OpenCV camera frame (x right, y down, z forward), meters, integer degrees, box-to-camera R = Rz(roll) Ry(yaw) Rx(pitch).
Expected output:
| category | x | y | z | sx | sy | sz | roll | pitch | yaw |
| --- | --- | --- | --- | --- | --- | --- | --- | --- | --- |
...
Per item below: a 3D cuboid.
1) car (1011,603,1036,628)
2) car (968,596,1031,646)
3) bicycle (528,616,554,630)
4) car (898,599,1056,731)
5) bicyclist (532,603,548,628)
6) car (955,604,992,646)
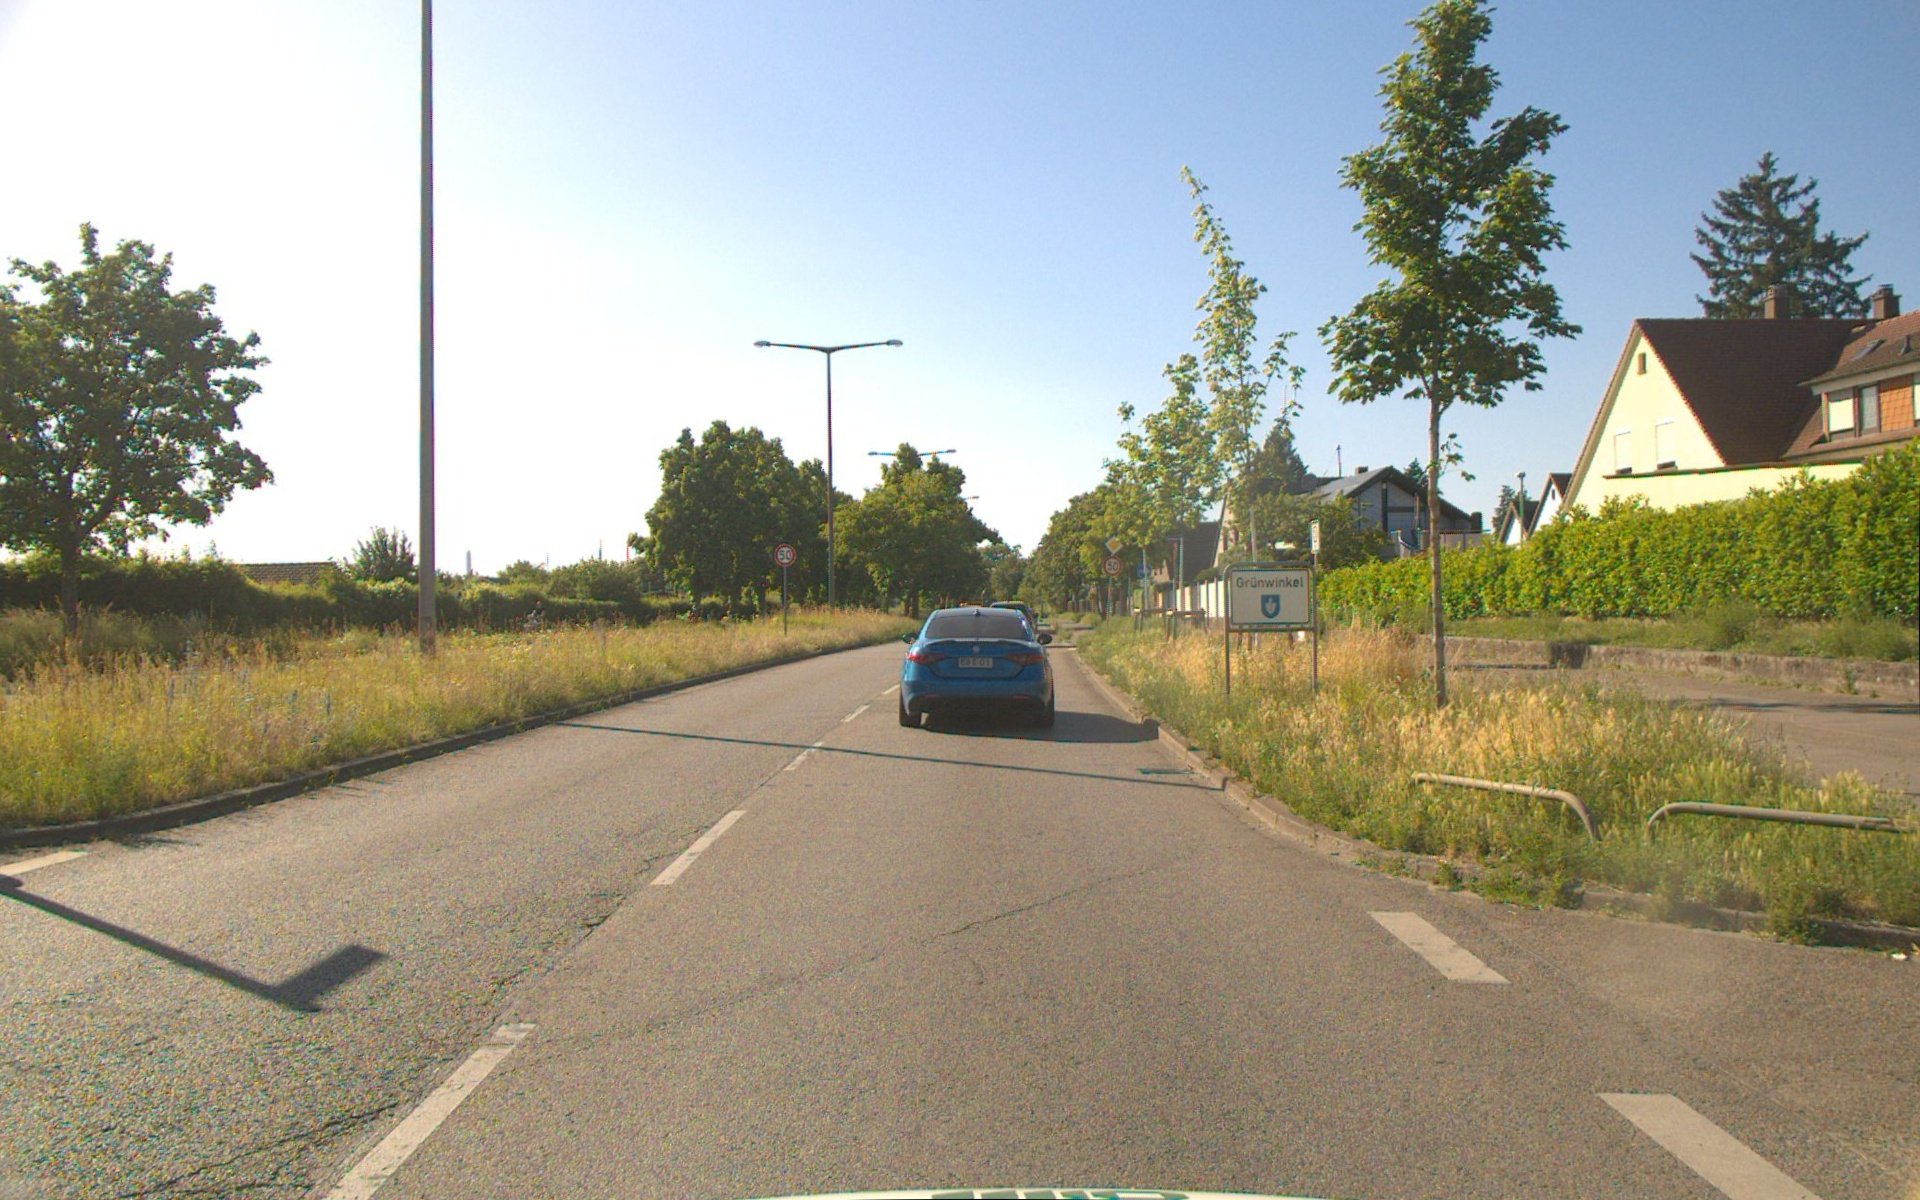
| category | x | y | z | sx | sy | sz | roll | pitch | yaw |
| --- | --- | --- | --- | --- | --- | --- | --- | --- | --- |
| car | 4.208 | 0.990 | 108.872 | 1.626 | 1.607 | 3.810 | 0 | -1 | 2 |
| car | 1.251 | 0.677 | 54.659 | 1.876 | 1.607 | 4.181 | 0 | 0 | -2 |
| bicycle | -21.147 | 1.166 | 83.471 | 0.553 | 0.707 | 1.876 | 0 | 0 | 9 |
| car | 0.227 | 0.738 | 21.033 | 1.800 | 1.500 | 4.185 | 0 | 0 | 1 |
| bicyclist | -21.164 | 0.789 | 83.330 | 0.570 | 1.279 | 0.576 | 0 | -1 | 9 |
| car | 0.699 | 1.235 | 82.899 | 1.755 | 2.049 | 4.001 | 0 | -1 | 2 |
